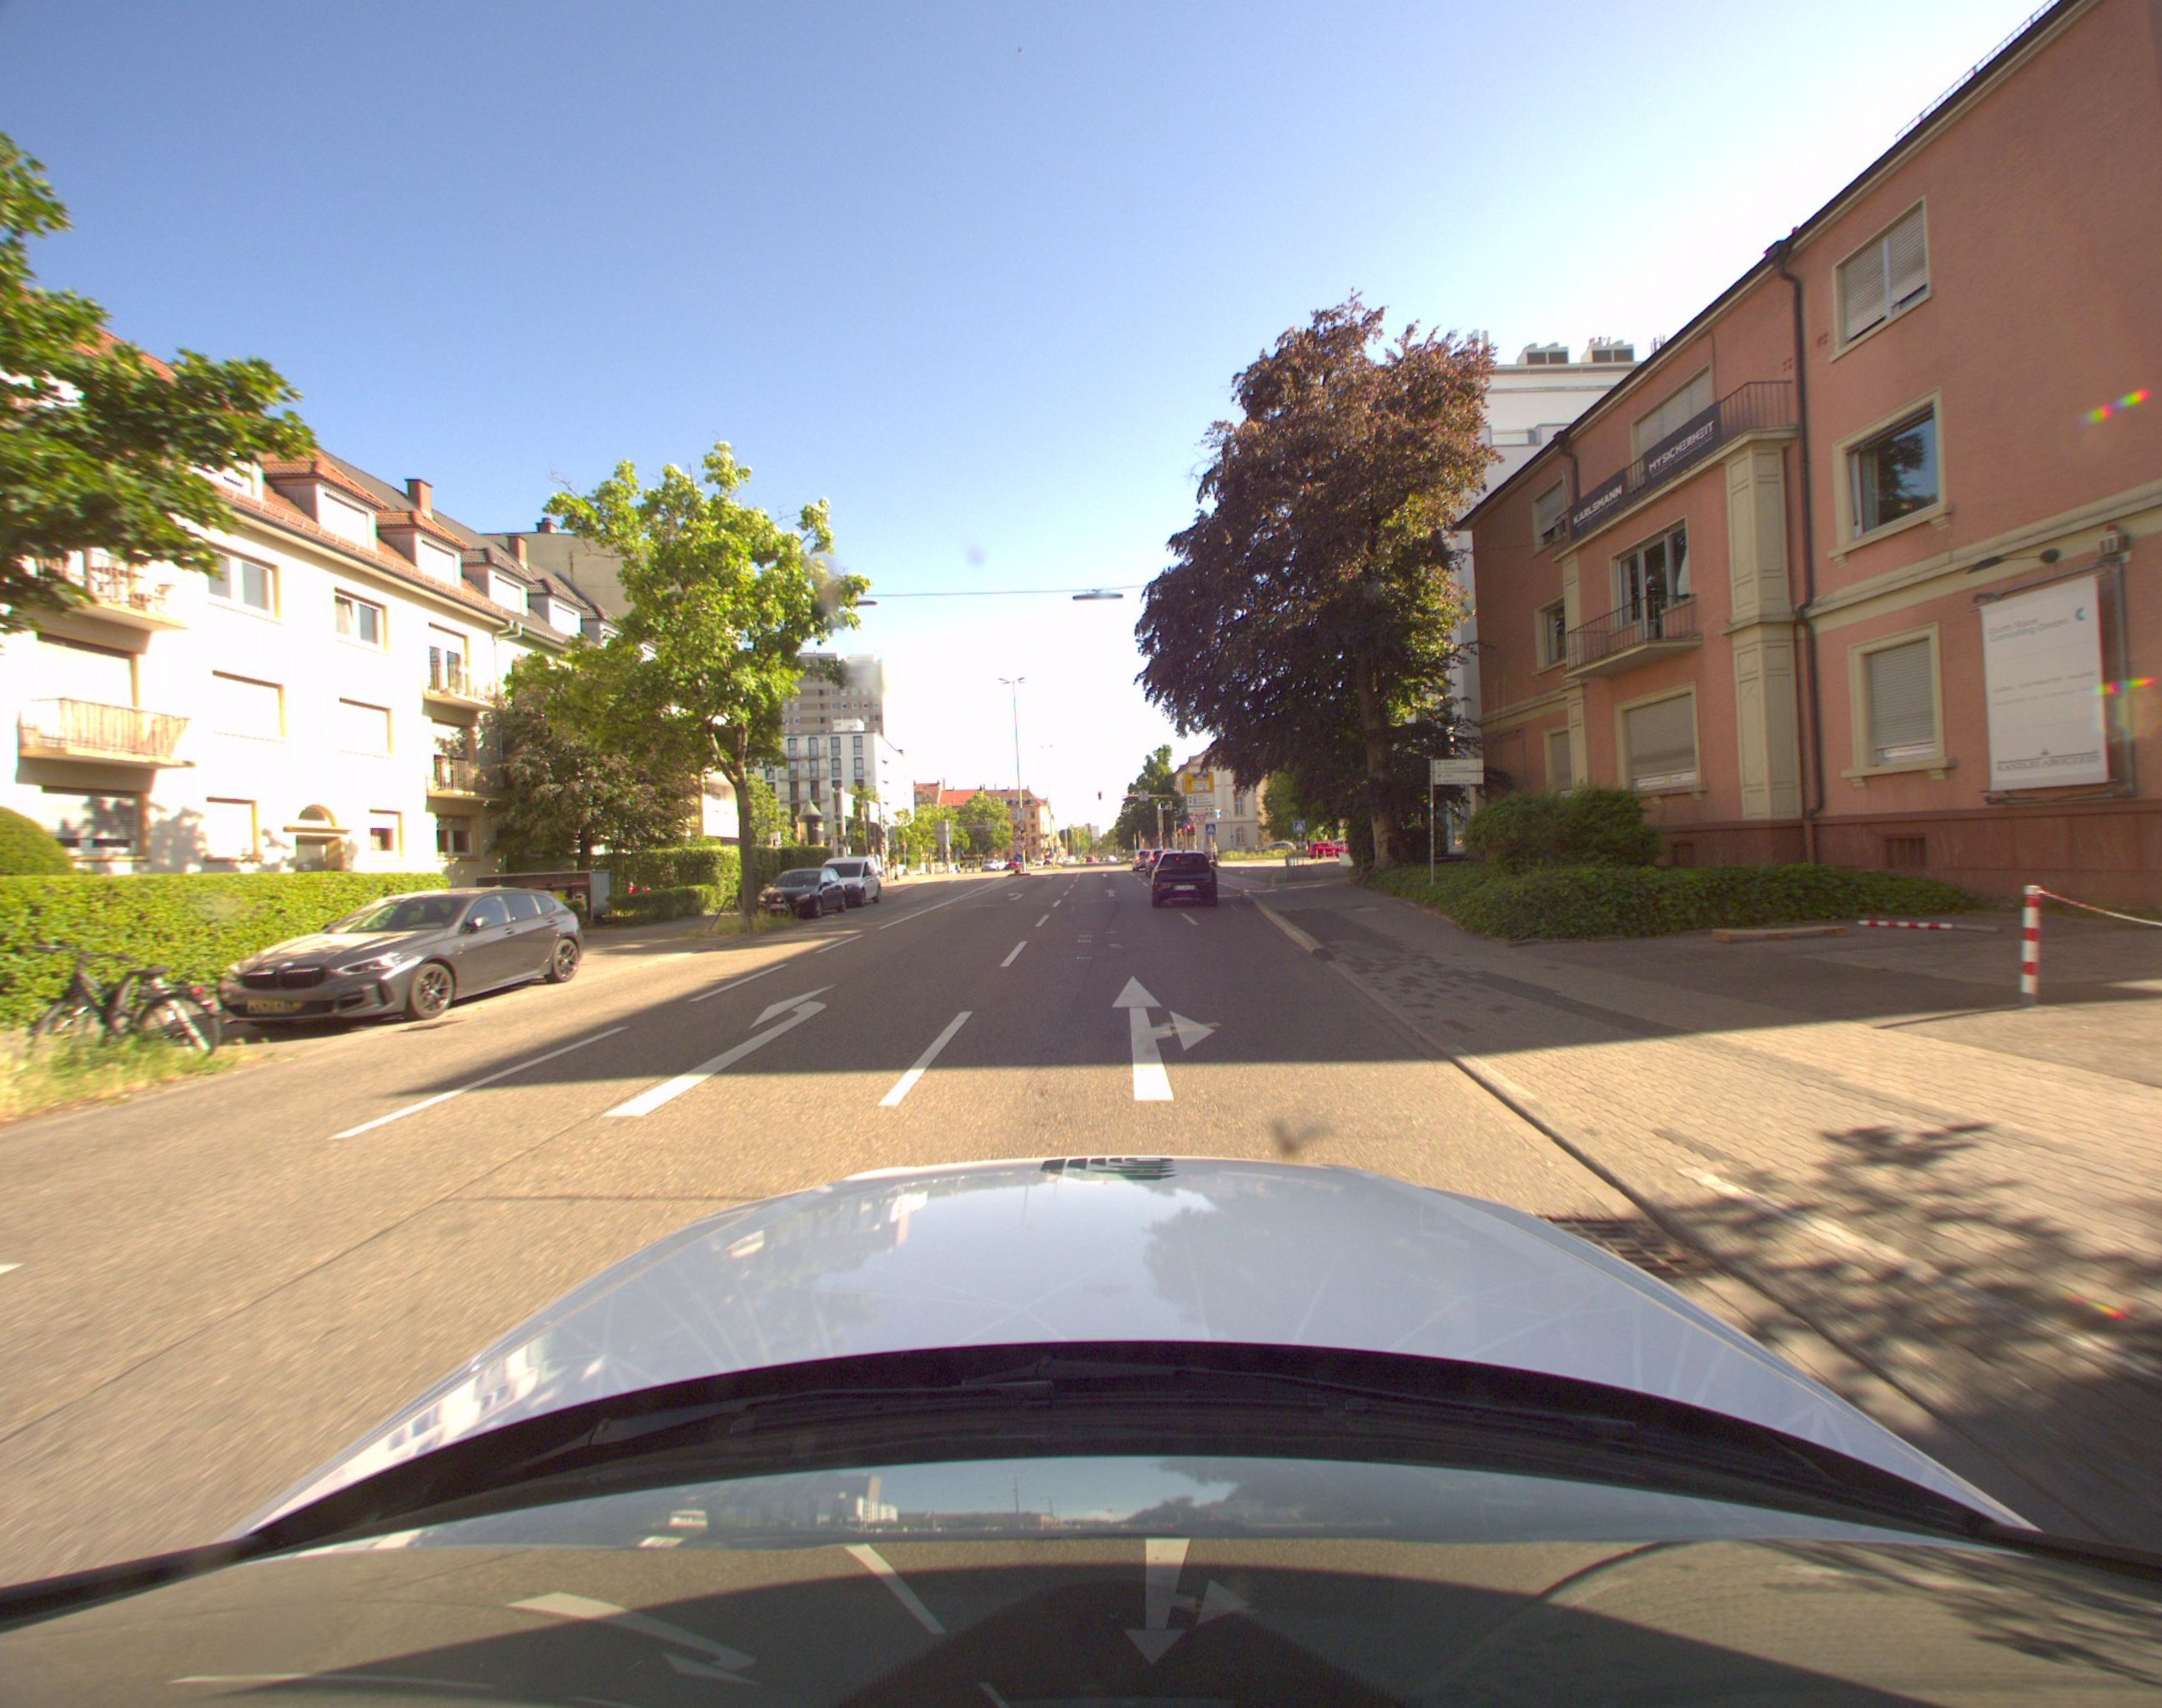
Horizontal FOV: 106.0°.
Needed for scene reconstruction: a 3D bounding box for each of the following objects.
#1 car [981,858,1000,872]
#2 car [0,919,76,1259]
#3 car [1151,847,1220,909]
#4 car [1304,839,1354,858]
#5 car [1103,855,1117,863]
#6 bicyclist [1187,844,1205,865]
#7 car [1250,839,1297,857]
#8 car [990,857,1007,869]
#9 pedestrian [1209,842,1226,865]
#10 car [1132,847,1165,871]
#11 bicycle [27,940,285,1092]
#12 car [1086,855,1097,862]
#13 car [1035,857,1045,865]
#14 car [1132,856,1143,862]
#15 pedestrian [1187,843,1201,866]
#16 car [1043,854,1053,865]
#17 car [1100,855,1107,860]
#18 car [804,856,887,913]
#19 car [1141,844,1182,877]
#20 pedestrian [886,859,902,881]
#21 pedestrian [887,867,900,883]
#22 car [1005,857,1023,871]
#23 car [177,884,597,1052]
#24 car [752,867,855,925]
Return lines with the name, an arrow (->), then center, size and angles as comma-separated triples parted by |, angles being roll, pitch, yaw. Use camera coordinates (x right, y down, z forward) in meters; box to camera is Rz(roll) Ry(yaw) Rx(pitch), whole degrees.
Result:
car -> -11.236, 1.378, 100.957 | 1.869, 1.617, 3.999 | -3, 0, 0
car -> -5.336, 1.065, 1.609 | 1.733, 1.381, 3.934 | -4, 1, -1
car -> 2.952, 0.621, 23.044 | 1.736, 1.573, 3.565 | -2, 0, 7
car -> 21.989, -0.487, 72.294 | 3.862, 1.452, 1.776 | -3, 0, -2
car -> 7.029, 1.166, 197.114 | 2.156, 1.698, 4.023 | -3, 0, 23
bicyclist -> 9.061, 0.025, 64.202 | 1.168, 1.633, 0.725 | -2, 0, -17
car -> 19.196, -0.618, 81.206 | 4.110, 1.601, 1.818 | -3, 0, -7
car -> -11.600, 1.273, 114.529 | 1.869, 1.448, 3.999 | -3, 0, 0
pedestrian -> 10.493, -0.053, 62.738 | 1.039, 1.659, 0.783 | -3, 0, -4
car -> 4.502, 0.291, 54.926 | 1.824, 1.452, 3.988 | -3, 0, 0
bicycle -> -8.166, 1.411, 7.235 | 1.539, 1.134, 0.548 | -4, 0, -2
car -> 2.293, 1.017, 182.588 | 1.799, 1.407, 4.012 | -3, 0, 10
car -> -8.913, 1.516, 177.105 | 1.869, 1.448, 3.999 | -3, 0, 0
car -> 14.819, 1.373, 214.104 | 1.846, 1.660, 4.018 | -1, 0, 17
pedestrian -> 8.611, 0.062, 61.896 | 0.824, 1.702, 0.916 | -2, 0, -6
car -> -6.784, 1.128, 169.938 | 1.805, 2.134, 3.999 | -3, 0, 0
car -> 6.802, 1.130, 248.661 | 1.805, 1.448, 3.999 | -3, 0, 0
car -> -8.612, 1.044, 30.207 | 1.814, 1.834, 4.558 | -3, 0, -2
car -> 4.328, 0.322, 44.362 | 1.824, 1.578, 3.839 | -3, 0, 0
pedestrian -> -13.935, 1.189, 60.779 | 0.837, 1.649, 0.668 | -3, 0, -44
pedestrian -> -13.775, 1.526, 59.763 | 0.666, 1.166, 0.669 | -3, 0, -33
car -> -8.172, 1.186, 99.242 | 1.785, 1.617, 4.000 | -3, 0, 0
car -> -8.269, 1.225, 10.387 | 1.764, 1.408, 4.360 | -2, 1, -4
car -> -8.418, 1.219, 25.061 | 1.665, 1.456, 4.111 | -3, 0, 0
